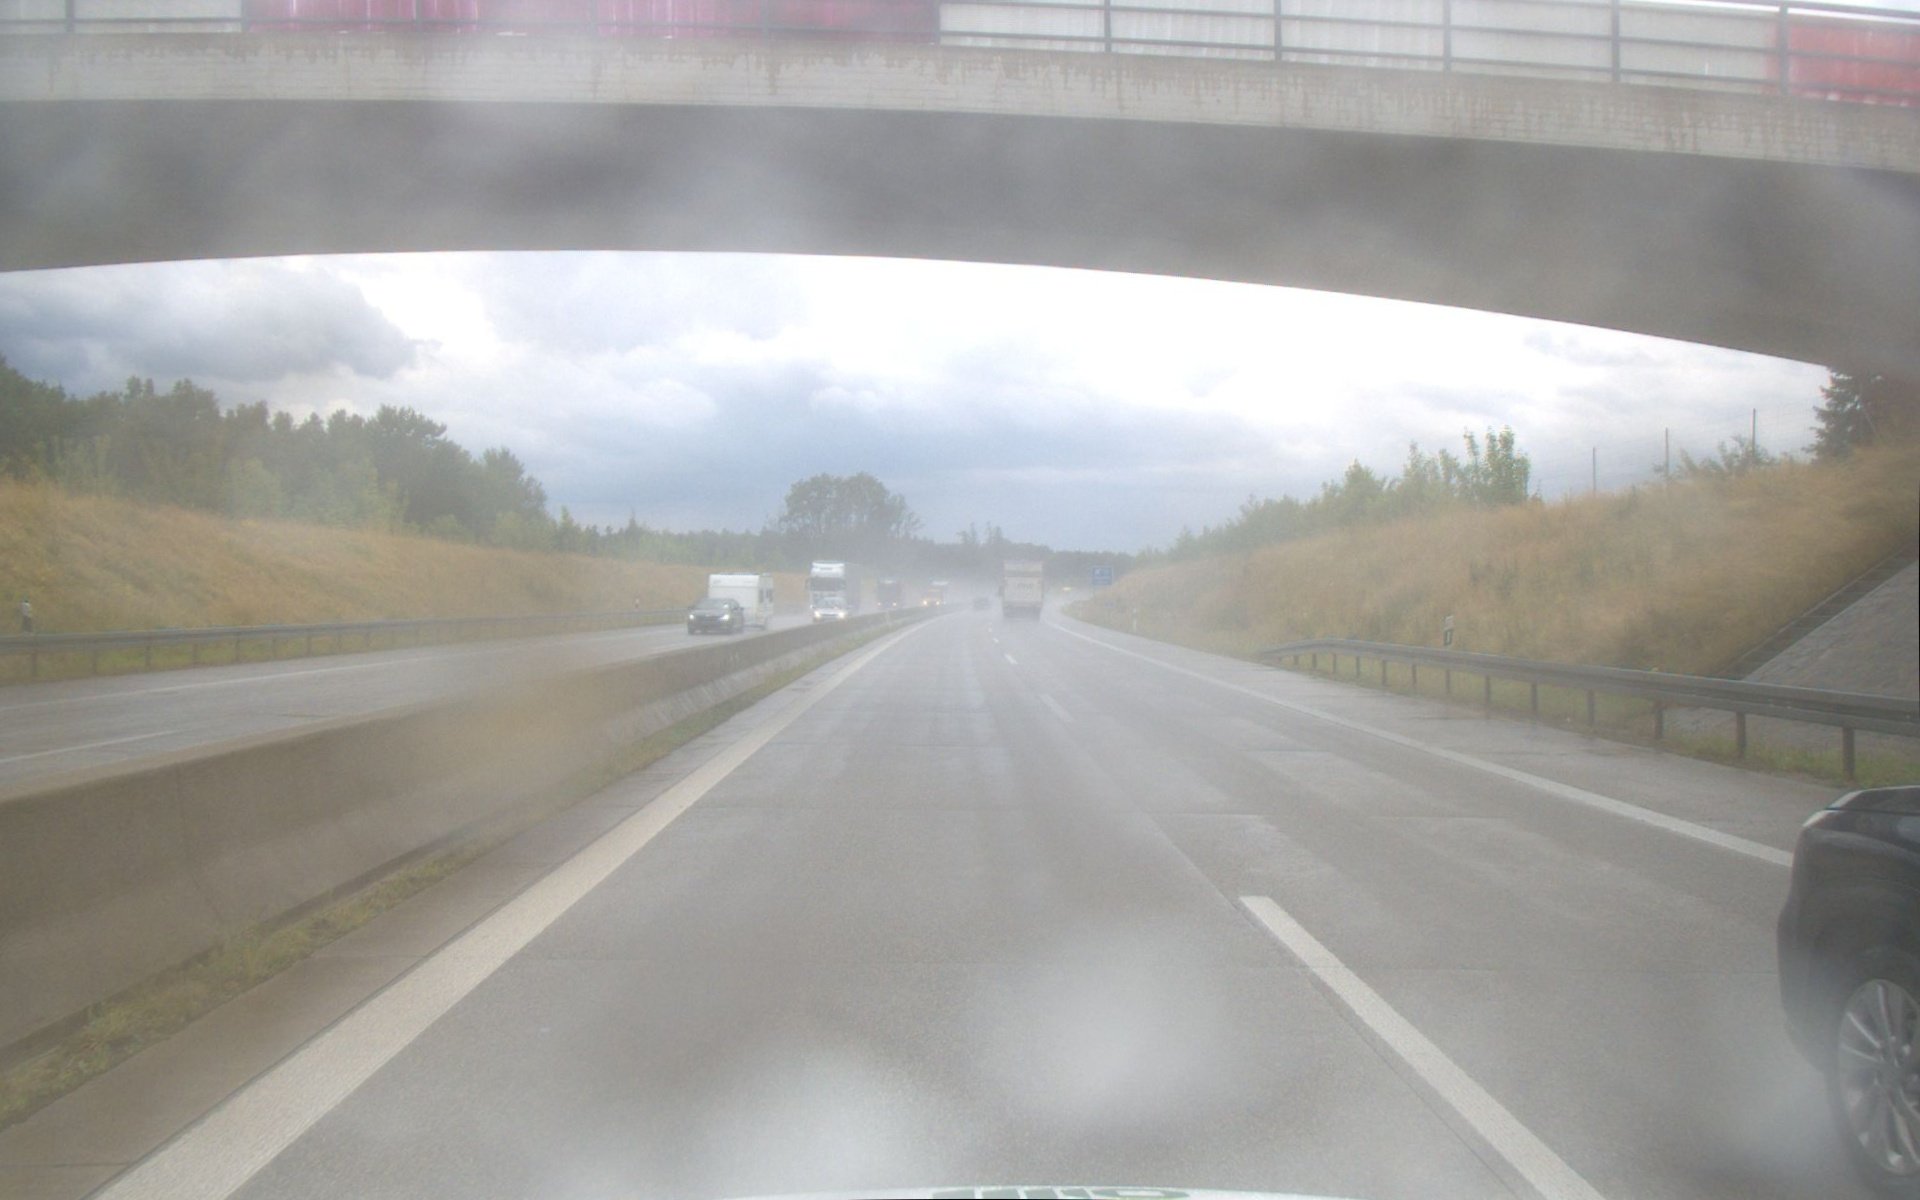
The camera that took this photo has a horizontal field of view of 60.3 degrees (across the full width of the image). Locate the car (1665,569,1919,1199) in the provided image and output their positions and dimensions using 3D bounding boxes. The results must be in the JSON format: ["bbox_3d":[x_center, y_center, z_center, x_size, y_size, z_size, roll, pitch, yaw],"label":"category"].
[{"bbox_3d":[3.315,0.746,3.679,1.856,1.603,3.631,1,0,-2],"label":"car"}]

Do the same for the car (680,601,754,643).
[{"bbox_3d":[-10.033,0.878,68.625,2.240,1.584,5.182,2,0,0],"label":"car"}]

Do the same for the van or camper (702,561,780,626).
[{"bbox_3d":[-9.862,-0.390,75.255,2.394,2.640,7.929,2,2,0],"label":"van or camper"}]

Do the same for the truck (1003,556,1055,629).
[{"bbox_3d":[4.540,-0.529,106.912,3.175,4.514,8.250,0,1,3],"label":"truck"}]

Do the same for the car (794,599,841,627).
[{"bbox_3d":[-7.121,0.626,83.081,1.952,1.334,4.511,0,0,0],"label":"car"}]
